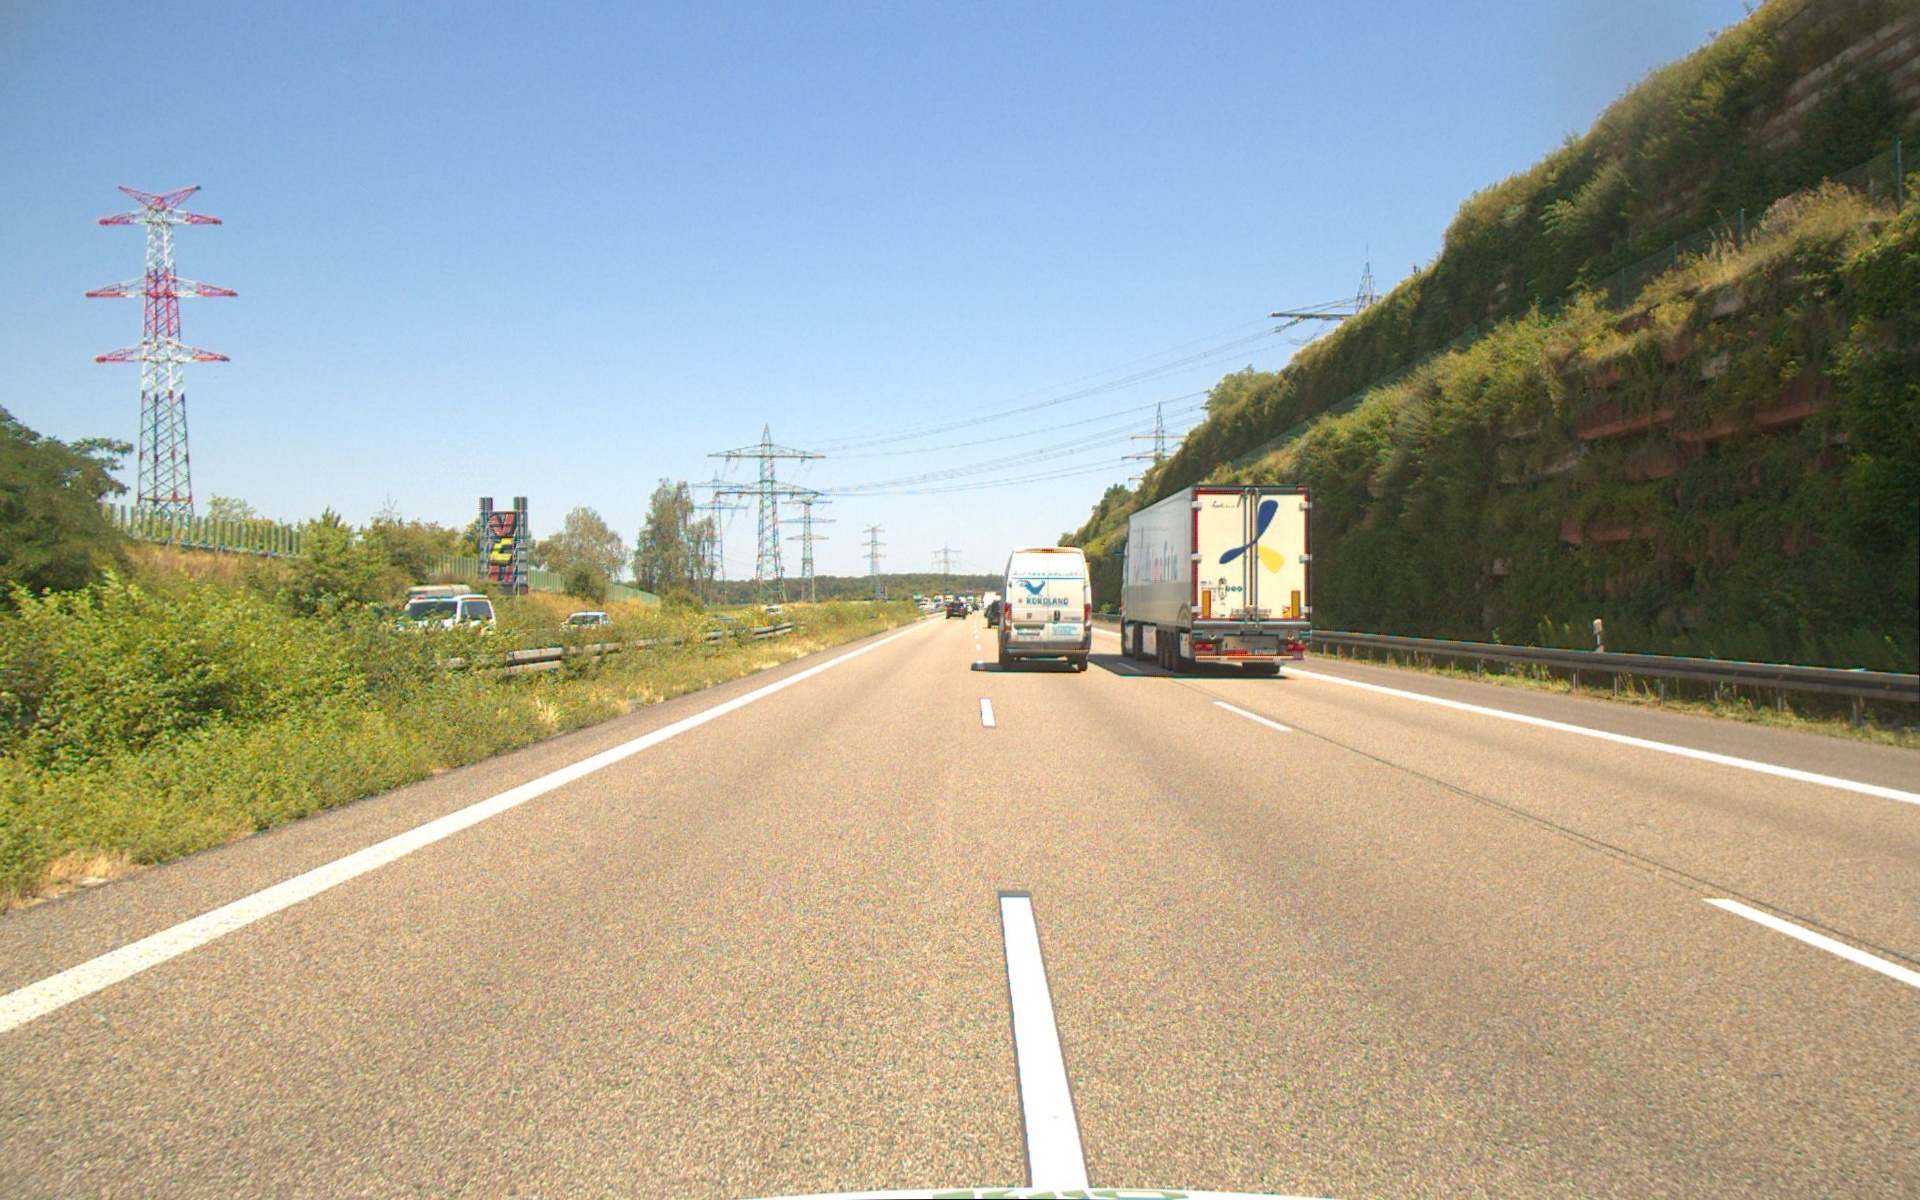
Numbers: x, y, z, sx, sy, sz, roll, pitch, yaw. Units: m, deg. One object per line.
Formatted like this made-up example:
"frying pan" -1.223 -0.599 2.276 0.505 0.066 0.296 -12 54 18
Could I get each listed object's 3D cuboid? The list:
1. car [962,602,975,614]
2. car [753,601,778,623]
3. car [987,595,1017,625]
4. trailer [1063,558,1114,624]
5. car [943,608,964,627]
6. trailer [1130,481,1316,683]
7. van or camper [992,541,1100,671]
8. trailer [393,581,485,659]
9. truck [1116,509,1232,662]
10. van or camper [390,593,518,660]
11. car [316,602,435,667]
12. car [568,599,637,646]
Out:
"car" 1.245 1.181 238.897 1.664 1.690 3.708 1 0 1
"car" -18.792 1.164 160.021 1.927 2.043 4.402 1 0 -1
"car" 2.646 0.611 105.944 1.759 1.849 3.800 1 0 -1
"trailer" 8.035 -0.559 104.187 2.583 3.965 7.068 1 0 0
"car" -0.604 1.713 164.461 1.941 1.849 3.813 1 0 1
"trailer" 6.107 -0.383 40.593 2.583 4.131 12.366 1 0 0
"van or camper" 1.958 0.126 39.481 2.185 2.831 5.422 1 0 -1
"trailer" -18.754 0.683 59.726 1.763 2.664 4.408 1 0 2
"truck" 6.120 -0.395 48.135 2.583 4.131 5.799 1 0 0
"van or camper" -14.556 0.714 47.899 1.925 1.796 5.213 1 0 2
"car" -18.872 1.066 53.625 1.904 1.959 5.023 1 0 2
"car" -14.549 0.897 67.500 1.745 1.796 4.361 1 0 2
